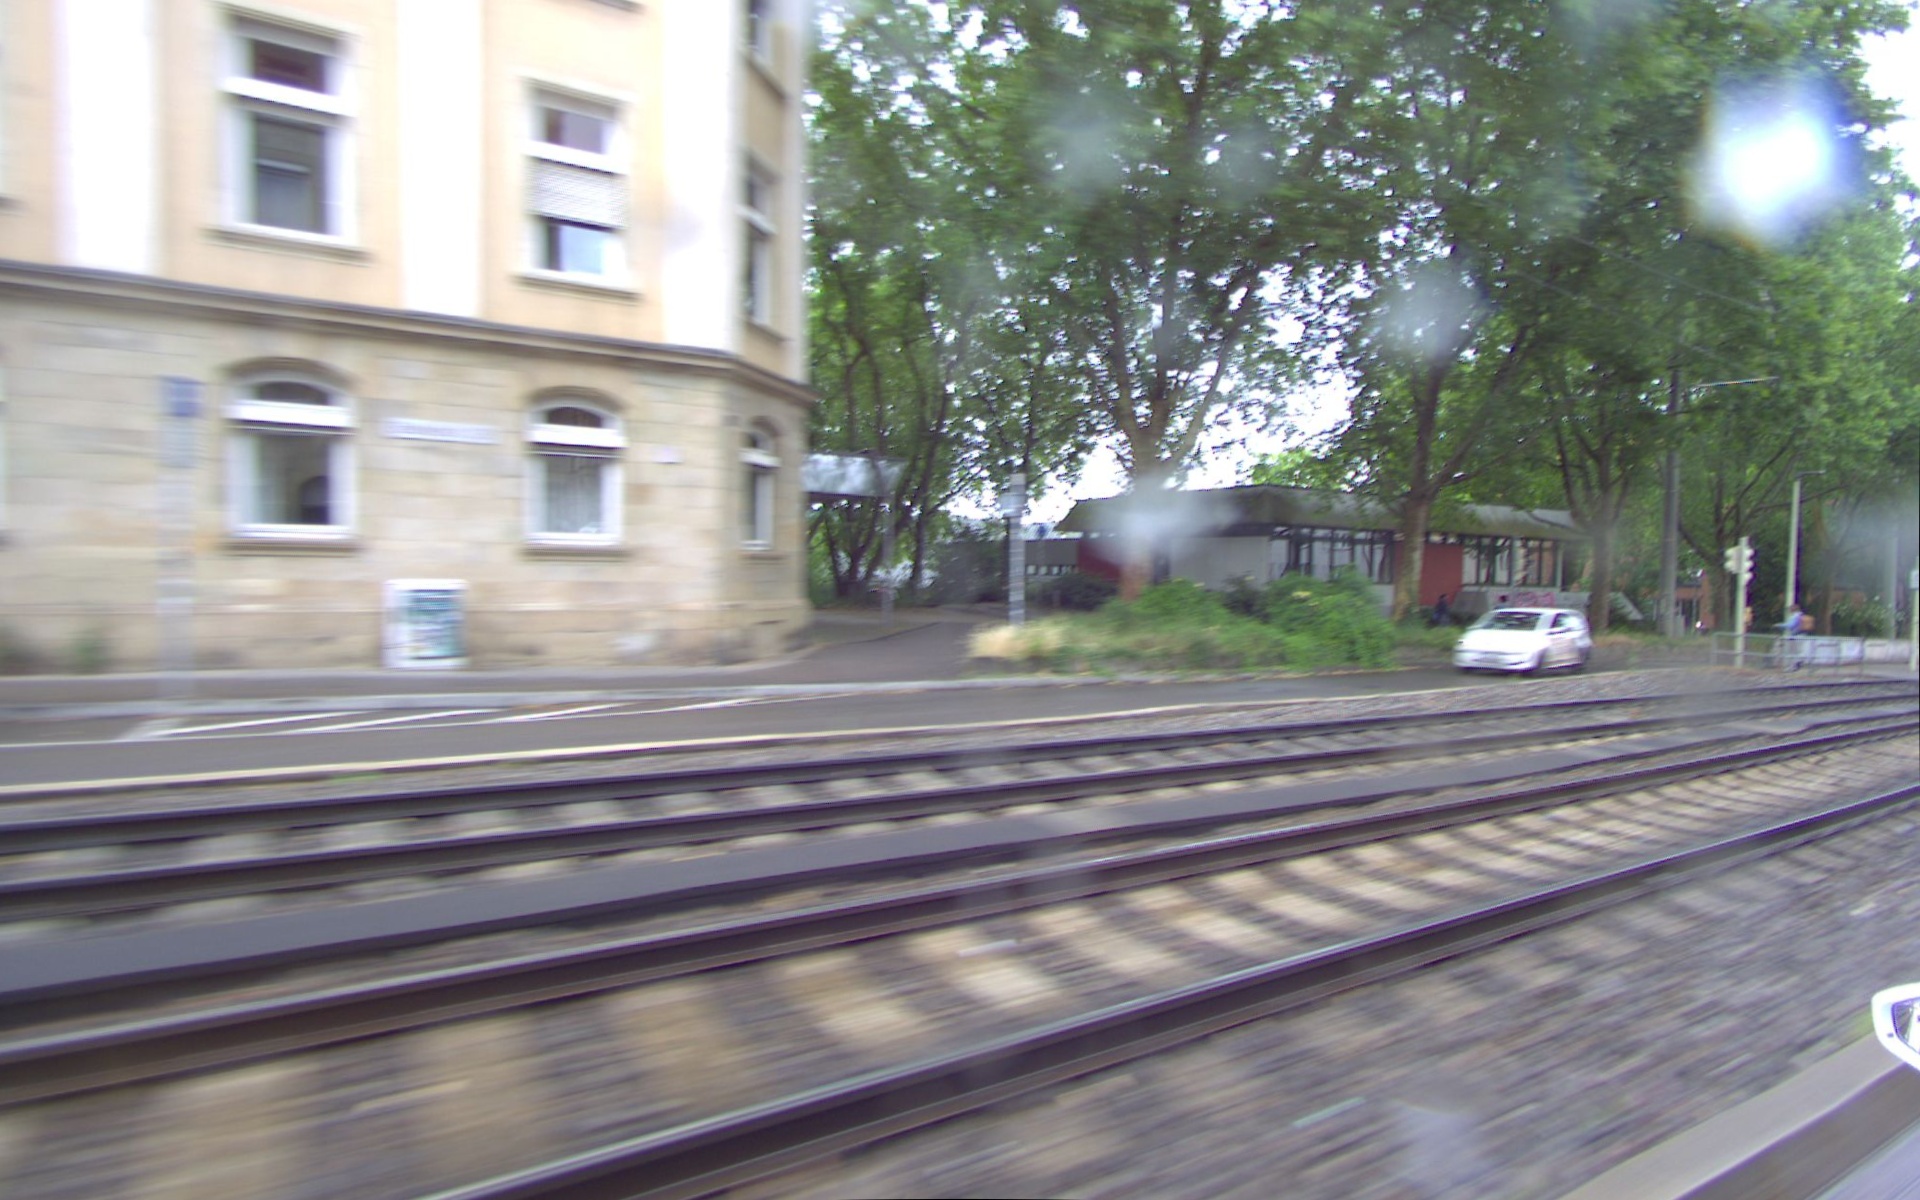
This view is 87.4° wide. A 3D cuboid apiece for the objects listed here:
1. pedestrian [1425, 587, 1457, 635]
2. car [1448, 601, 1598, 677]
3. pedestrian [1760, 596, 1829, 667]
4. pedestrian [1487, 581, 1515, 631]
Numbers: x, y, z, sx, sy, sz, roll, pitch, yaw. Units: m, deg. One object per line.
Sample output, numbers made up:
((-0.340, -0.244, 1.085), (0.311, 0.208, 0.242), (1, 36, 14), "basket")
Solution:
((17.332, 0.390, 36.199), (1.003, 1.706, 0.614), (0, -1, -30), "pedestrian")
((12.605, 0.813, 22.401), (3.753, 1.517, 1.645), (1, 1, -39), "car")
((21.378, 0.798, 25.748), (0.893, 1.742, 1.050), (1, 1, -29), "pedestrian")
((18.492, 0.199, 34.329), (0.684, 1.684, 0.638), (1, 0, 41), "pedestrian")
